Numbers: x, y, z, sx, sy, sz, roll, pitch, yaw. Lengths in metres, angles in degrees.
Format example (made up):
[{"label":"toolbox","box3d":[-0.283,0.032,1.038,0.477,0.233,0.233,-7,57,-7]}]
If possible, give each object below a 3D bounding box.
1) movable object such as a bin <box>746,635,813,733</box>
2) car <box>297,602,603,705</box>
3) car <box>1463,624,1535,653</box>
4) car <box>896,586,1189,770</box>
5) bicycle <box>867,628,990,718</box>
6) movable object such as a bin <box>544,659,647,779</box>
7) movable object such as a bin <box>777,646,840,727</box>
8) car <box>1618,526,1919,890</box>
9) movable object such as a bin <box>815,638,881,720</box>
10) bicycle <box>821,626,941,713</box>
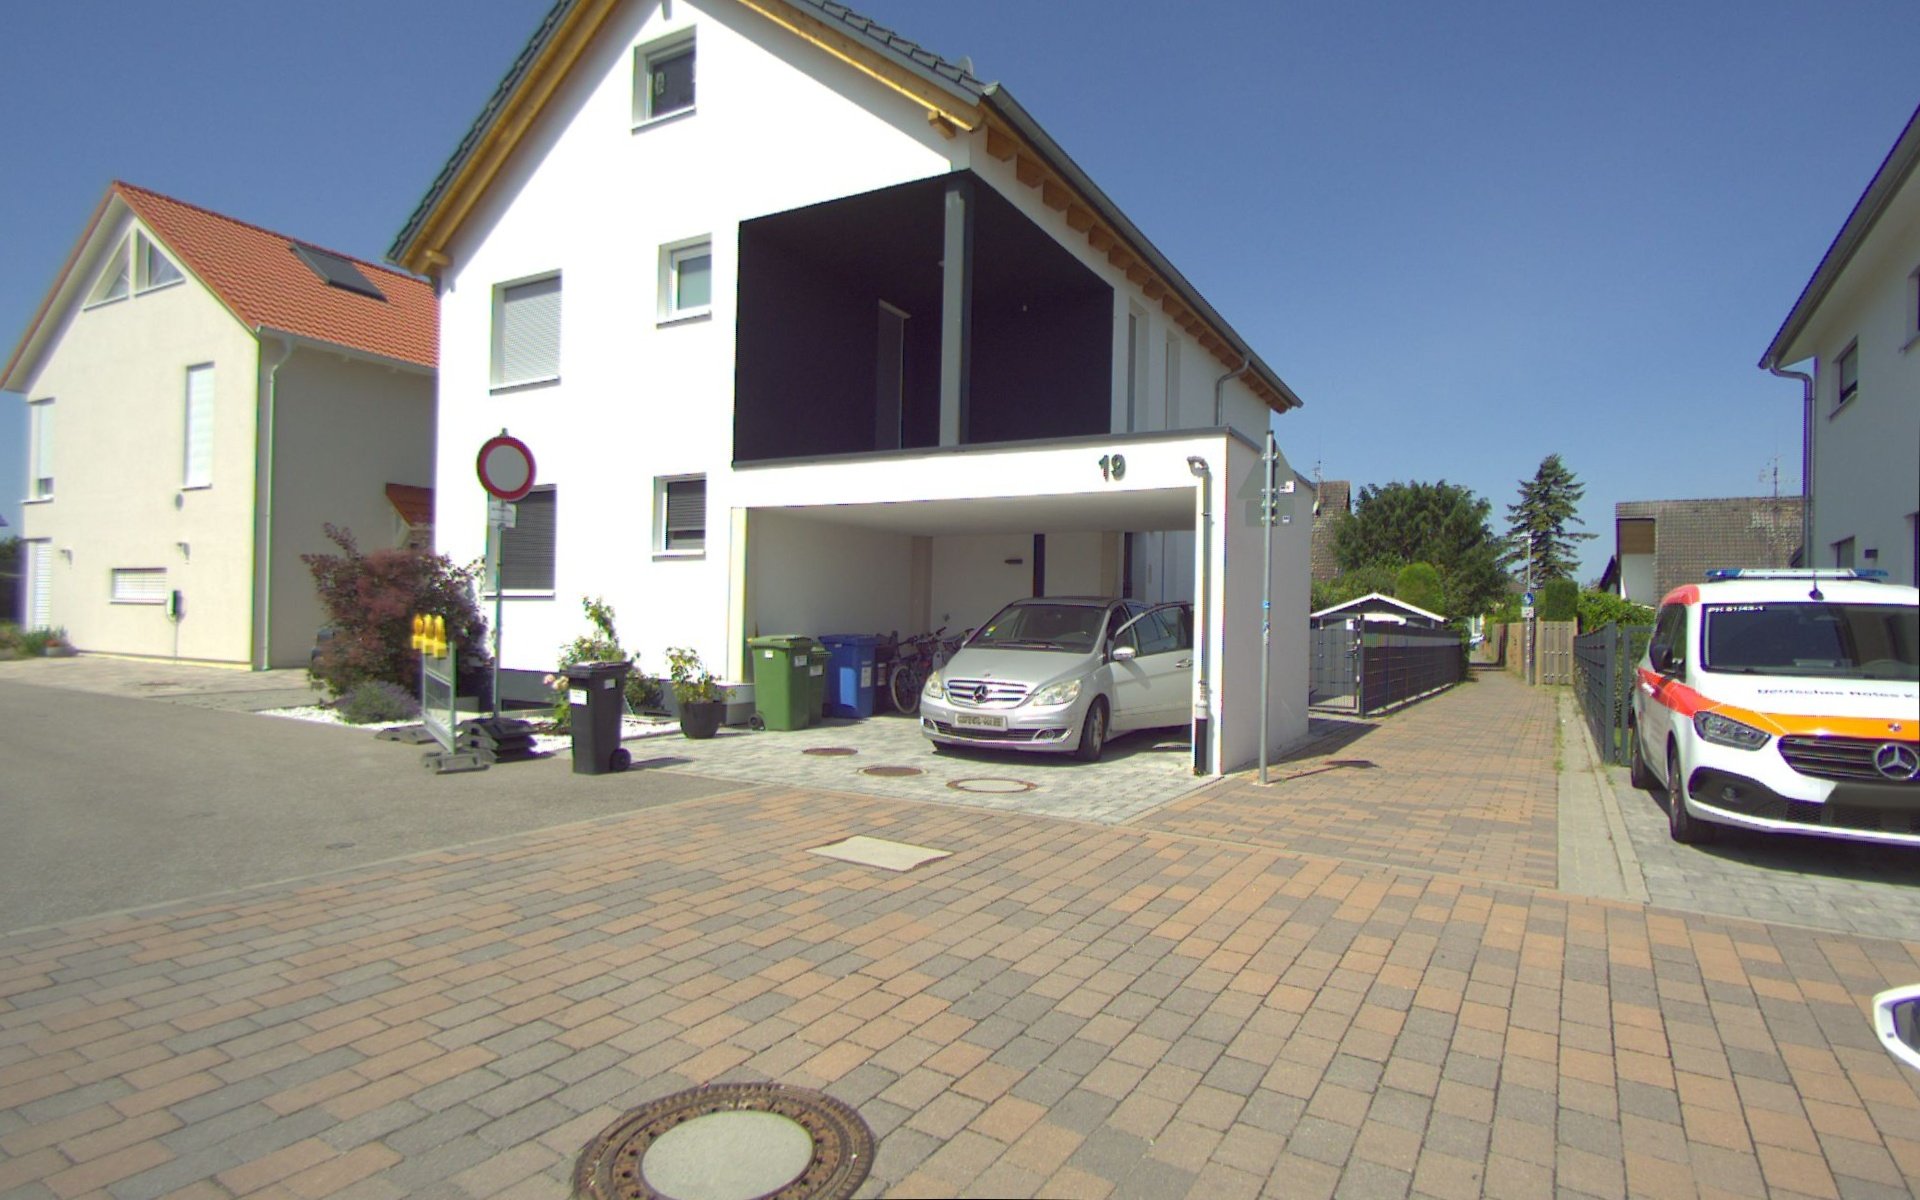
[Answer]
[{"label":"movable object such as a bin","box3d":[-2.093,0.957,11.676,0.591,1.106,0.499,-1,-1,28]},{"label":"car","box3d":[-7.890,0.784,15.945,1.724,1.399,4.055,0,-1,29]},{"label":"car","box3d":[35.279,2.510,65.720,4.086,1.739,1.902,1,-1,30]},{"label":"car","box3d":[1.115,0.742,10.927,1.713,1.582,4.161,1,-2,27]},{"label":"bicycle","box3d":[-0.391,0.979,14.147,0.718,1.141,2.129,2,0,29]},{"label":"movable object such as a bin","box3d":[-3.120,0.995,8.617,0.554,0.949,0.618,0,-1,28]},{"label":"movable object such as a bin","box3d":[-1.838,1.037,12.209,0.551,0.917,0.499,2,0,28]},{"label":"car","box3d":[6.138,0.637,7.331,1.904,1.899,4.743,1,-1,30]},{"label":"movable object such as a bin","box3d":[-1.456,1.012,13.067,0.665,1.000,0.499,2,0,28]},{"label":"bicycle","box3d":[-1.099,0.958,14.599,0.764,1.141,2.131,2,0,24]}]
